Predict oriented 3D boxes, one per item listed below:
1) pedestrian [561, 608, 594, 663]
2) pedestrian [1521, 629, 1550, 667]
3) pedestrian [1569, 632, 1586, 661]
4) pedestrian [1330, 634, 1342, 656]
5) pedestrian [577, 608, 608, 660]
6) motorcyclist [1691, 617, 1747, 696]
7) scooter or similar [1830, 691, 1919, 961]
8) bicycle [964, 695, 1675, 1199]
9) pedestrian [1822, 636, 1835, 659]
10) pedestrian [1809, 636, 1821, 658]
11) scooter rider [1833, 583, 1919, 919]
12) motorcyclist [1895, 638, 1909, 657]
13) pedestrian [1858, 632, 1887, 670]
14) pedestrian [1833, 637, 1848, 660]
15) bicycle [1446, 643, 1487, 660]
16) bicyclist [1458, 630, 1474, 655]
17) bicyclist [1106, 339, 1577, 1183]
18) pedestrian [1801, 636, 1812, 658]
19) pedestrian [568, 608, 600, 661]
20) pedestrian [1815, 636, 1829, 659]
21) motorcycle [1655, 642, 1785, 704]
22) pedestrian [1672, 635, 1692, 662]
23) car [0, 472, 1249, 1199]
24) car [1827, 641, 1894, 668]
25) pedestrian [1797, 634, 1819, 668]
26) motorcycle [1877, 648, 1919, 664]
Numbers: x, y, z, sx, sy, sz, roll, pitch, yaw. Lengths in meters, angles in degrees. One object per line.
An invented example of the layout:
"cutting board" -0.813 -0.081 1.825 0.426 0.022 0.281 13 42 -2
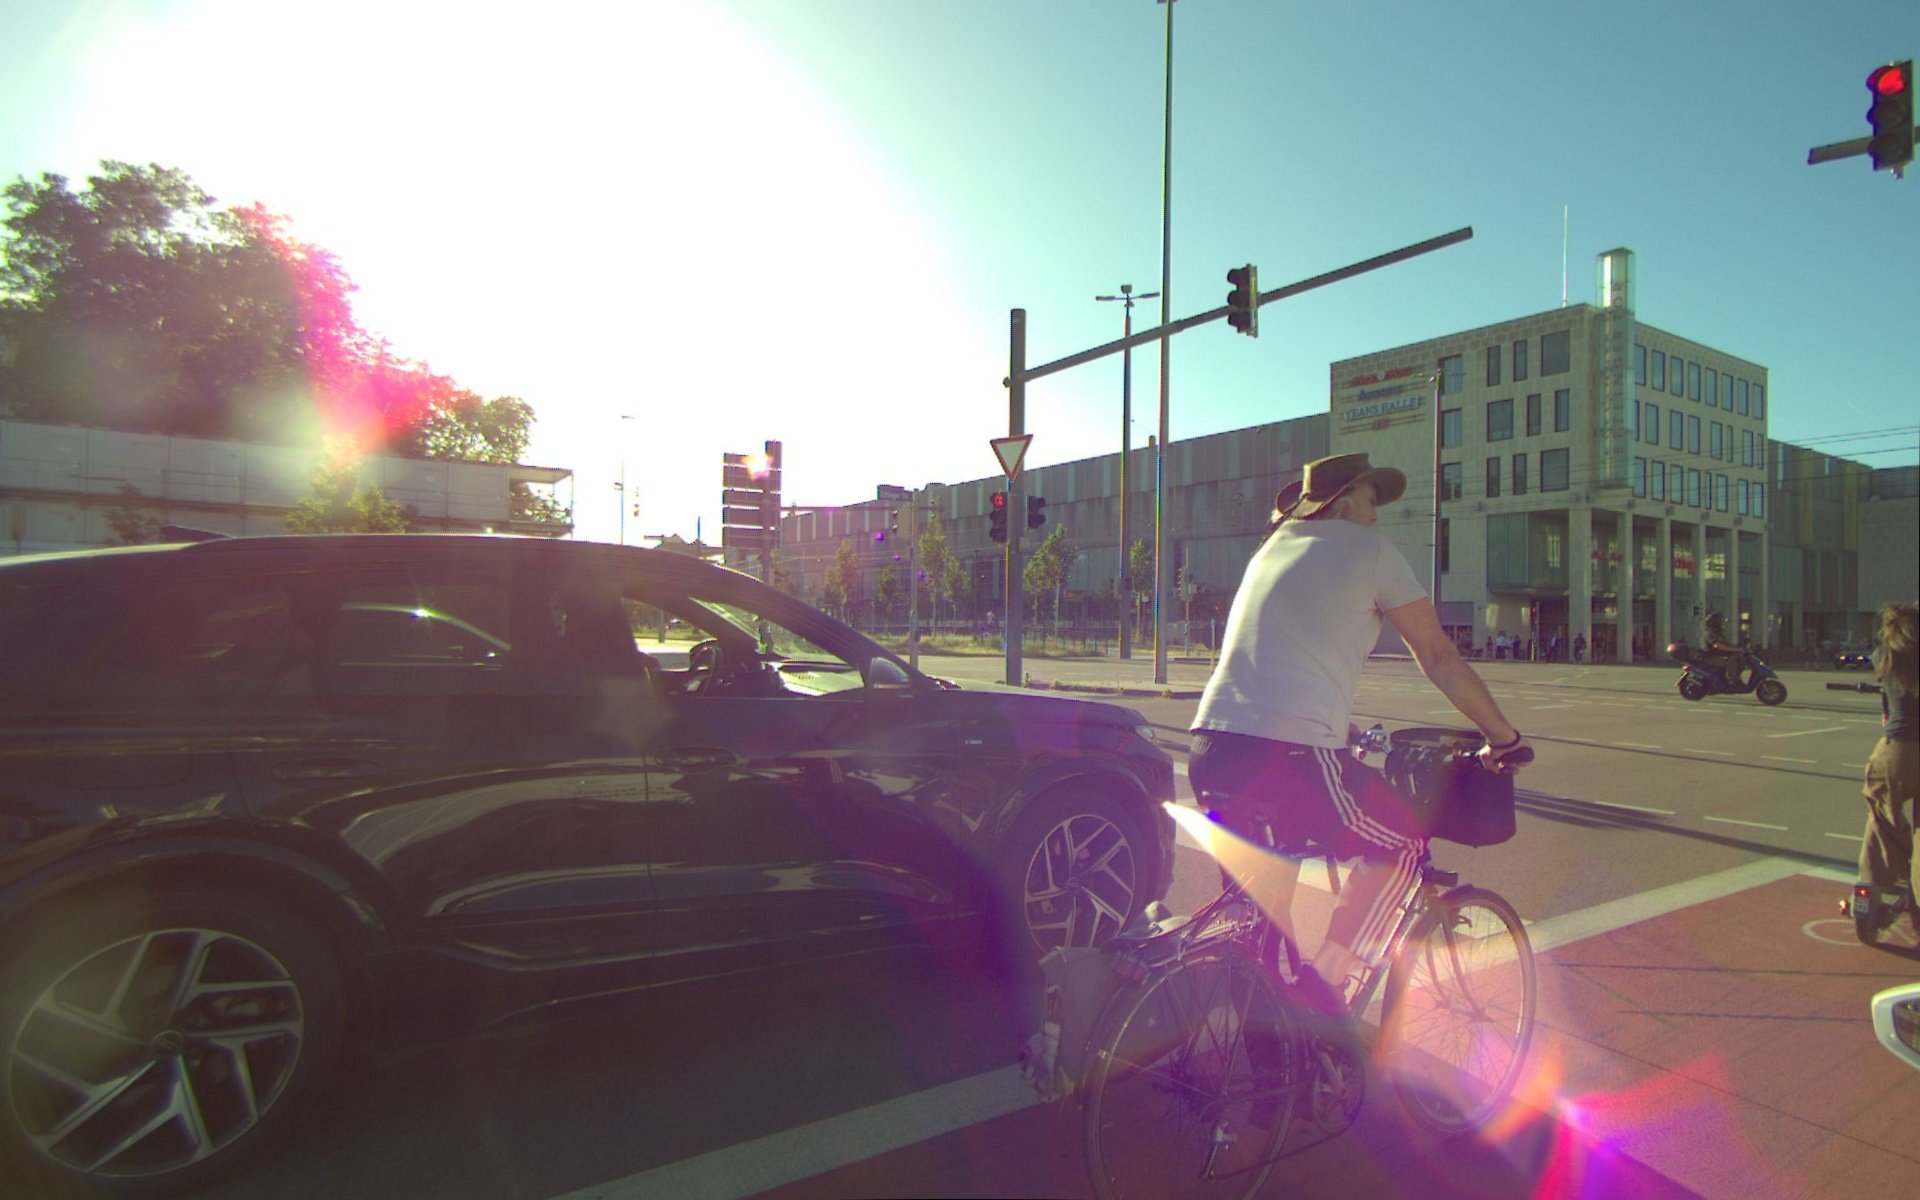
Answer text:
"pedestrian" -11.775 1.090 30.914 0.736 1.632 0.716 2 0 -5
"pedestrian" 26.172 2.192 45.689 0.994 1.697 0.818 1 -1 -33
"pedestrian" 36.148 2.717 58.807 0.622 1.667 0.589 1 -1 -30
"pedestrian" 26.657 3.172 71.223 0.622 1.562 0.589 1 -1 -30
"pedestrian" -11.901 1.094 32.536 0.736 1.632 0.716 2 0 -5
"motorcyclist" 14.858 1.088 19.664 0.594 1.499 0.744 1 -1 -37
"scooter or similar" 4.381 1.014 4.744 0.832 1.122 0.303 2 -1 -42
"bicycle" 1.001 0.881 2.633 1.868 1.162 0.735 1 -1 -30
"pedestrian" 69.773 3.823 80.690 0.616 1.752 0.471 2 0 -1
"pedestrian" 69.473 3.819 81.617 0.510 1.752 0.472 2 0 9
"scooter rider" 4.589 0.700 4.805 0.445 1.550 0.548 1 -1 -38
"motorcyclist" 70.817 3.575 75.517 0.657 1.424 0.623 2 0 -38
"pedestrian" 45.915 2.552 50.530 0.529 1.889 0.943 1 -1 -13
"pedestrian" 68.843 3.785 78.558 0.681 1.752 0.472 2 0 9
"bicycle" 29.698 3.009 58.923 0.629 0.915 2.204 1 -1 -25
"bicyclist" 29.709 2.484 58.996 0.620 1.467 0.585 1 -1 -26
"bicyclist" 0.966 0.339 2.617 0.842 1.723 0.802 1 -1 -30
"pedestrian" 68.150 3.775 80.879 0.510 1.752 0.472 2 0 9
"pedestrian" -11.837 1.091 31.641 0.736 1.632 0.716 2 0 -5
"pedestrian" 67.717 3.752 78.910 0.615 1.752 0.472 2 0 4
"motorcycle" 14.845 1.400 19.675 0.643 1.115 1.940 1 -1 -37
"pedestrian" 45.350 3.035 63.088 0.616 1.660 0.776 1 -1 -19
"car" -1.261 0.613 4.062 4.613 1.729 2.153 1 0 -32
"car" 49.734 2.978 55.452 3.975 1.375 1.668 1 -1 -31
"pedestrian" 44.086 2.644 52.236 0.612 1.710 0.697 1 -1 -29
"motorcycle" 70.649 4.201 75.376 1.106 1.006 2.582 2 0 -38
